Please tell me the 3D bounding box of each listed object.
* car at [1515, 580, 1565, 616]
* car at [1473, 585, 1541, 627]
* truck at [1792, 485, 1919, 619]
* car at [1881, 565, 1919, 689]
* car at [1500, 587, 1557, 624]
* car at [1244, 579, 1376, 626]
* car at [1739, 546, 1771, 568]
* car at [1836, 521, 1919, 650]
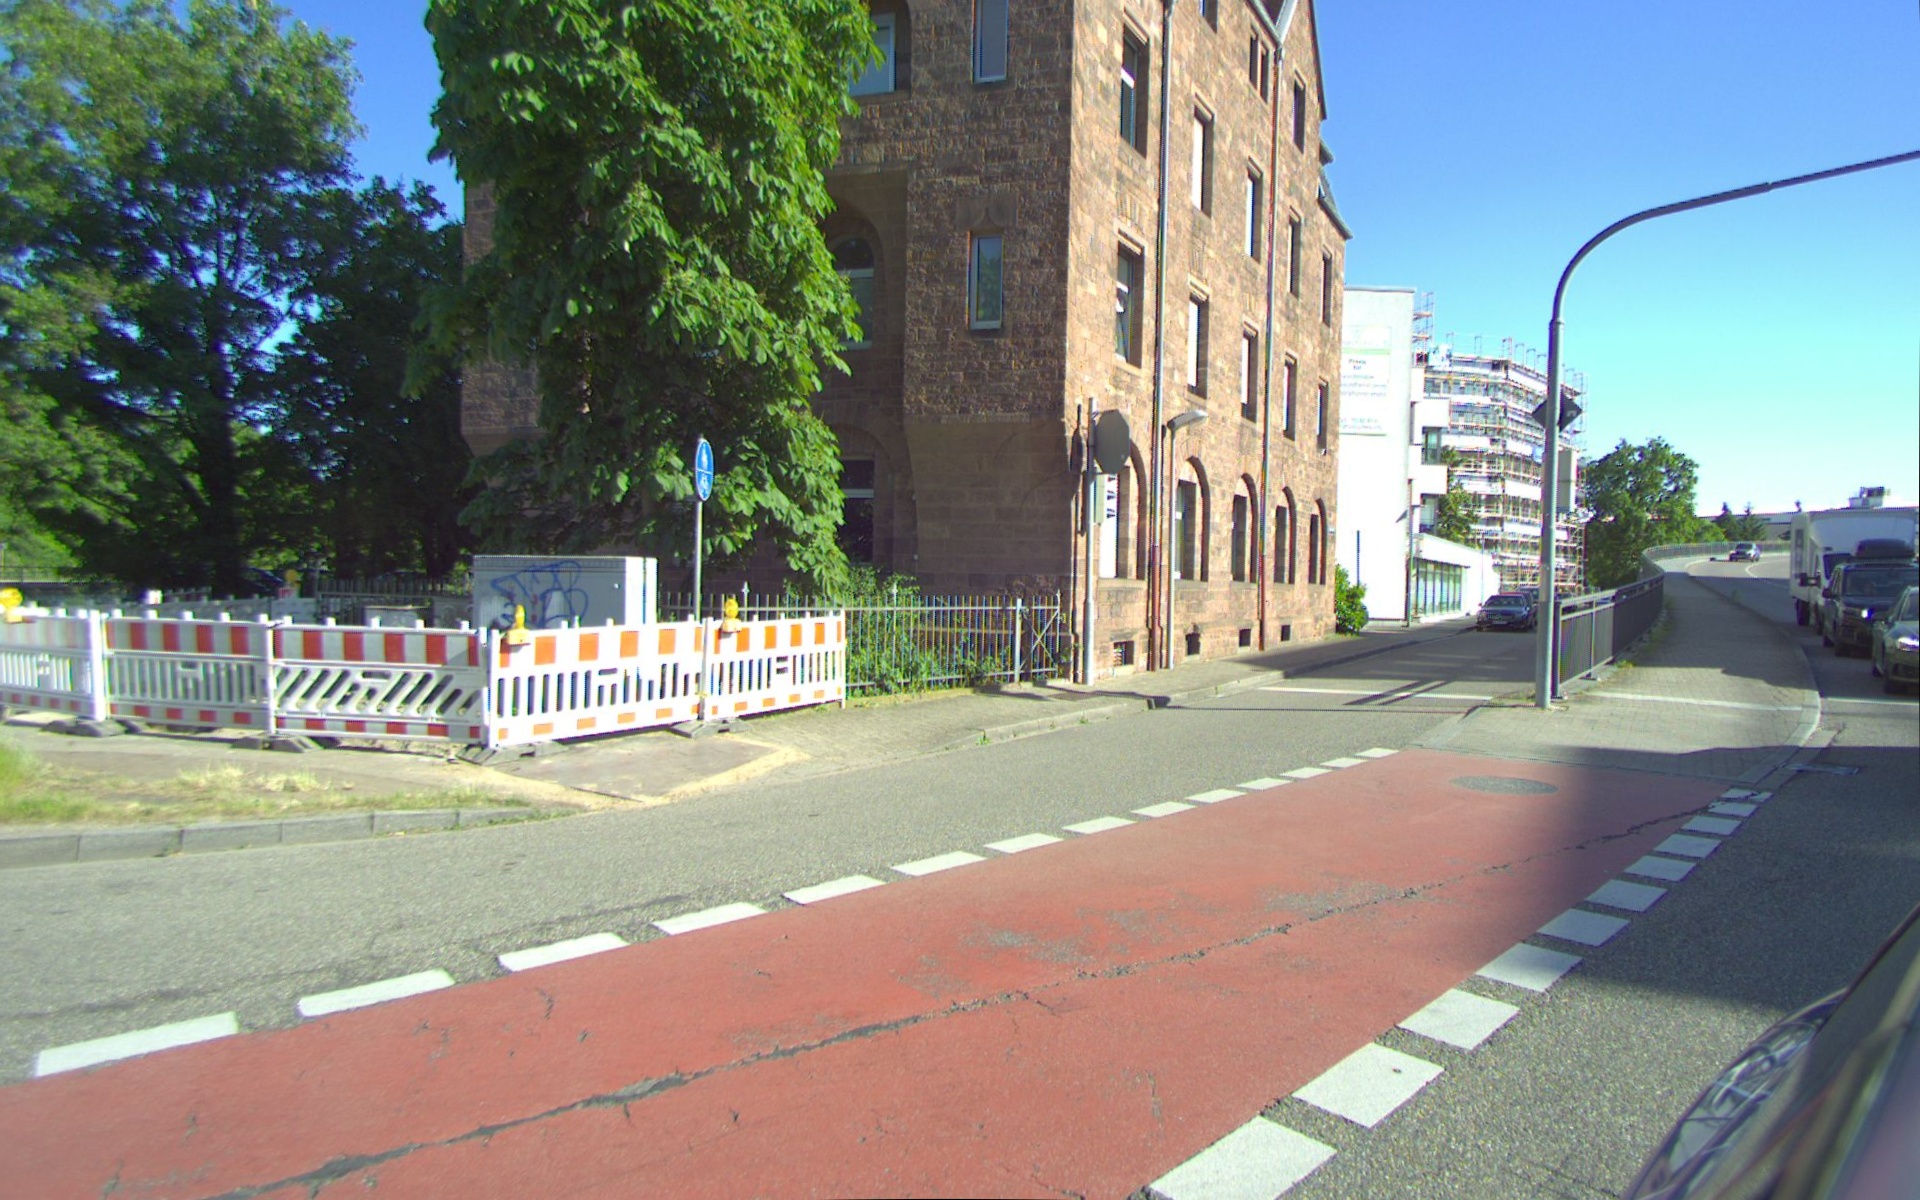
[{"bbox_3d":[29.832,-0.120,51.996,2.039,1.707,4.045,1,1,33],"label":"car"},{"bbox_3d":[21.784,0.204,40.240,2.040,1.551,4.044,1,1,33],"label":"car"},{"bbox_3d":[24.117,-1.171,27.067,2.490,3.167,6.867,2,1,37],"label":"truck"},{"bbox_3d":[14.145,0.308,13.974,1.872,1.488,4.570,2,4,40],"label":"car"},{"bbox_3d":[25.805,0.239,45.857,2.039,1.551,4.045,1,1,33],"label":"car"},{"bbox_3d":[12.428,0.081,36.096,4.015,1.551,1.919,1,1,1],"label":"car"},{"bbox_3d":[71.061,-3.856,90.412,1.752,1.781,4.709,2,1,44],"label":"car"},{"bbox_3d":[18.577,-0.267,19.780,1.942,2.289,4.718,2,1,38],"label":"car"}]
